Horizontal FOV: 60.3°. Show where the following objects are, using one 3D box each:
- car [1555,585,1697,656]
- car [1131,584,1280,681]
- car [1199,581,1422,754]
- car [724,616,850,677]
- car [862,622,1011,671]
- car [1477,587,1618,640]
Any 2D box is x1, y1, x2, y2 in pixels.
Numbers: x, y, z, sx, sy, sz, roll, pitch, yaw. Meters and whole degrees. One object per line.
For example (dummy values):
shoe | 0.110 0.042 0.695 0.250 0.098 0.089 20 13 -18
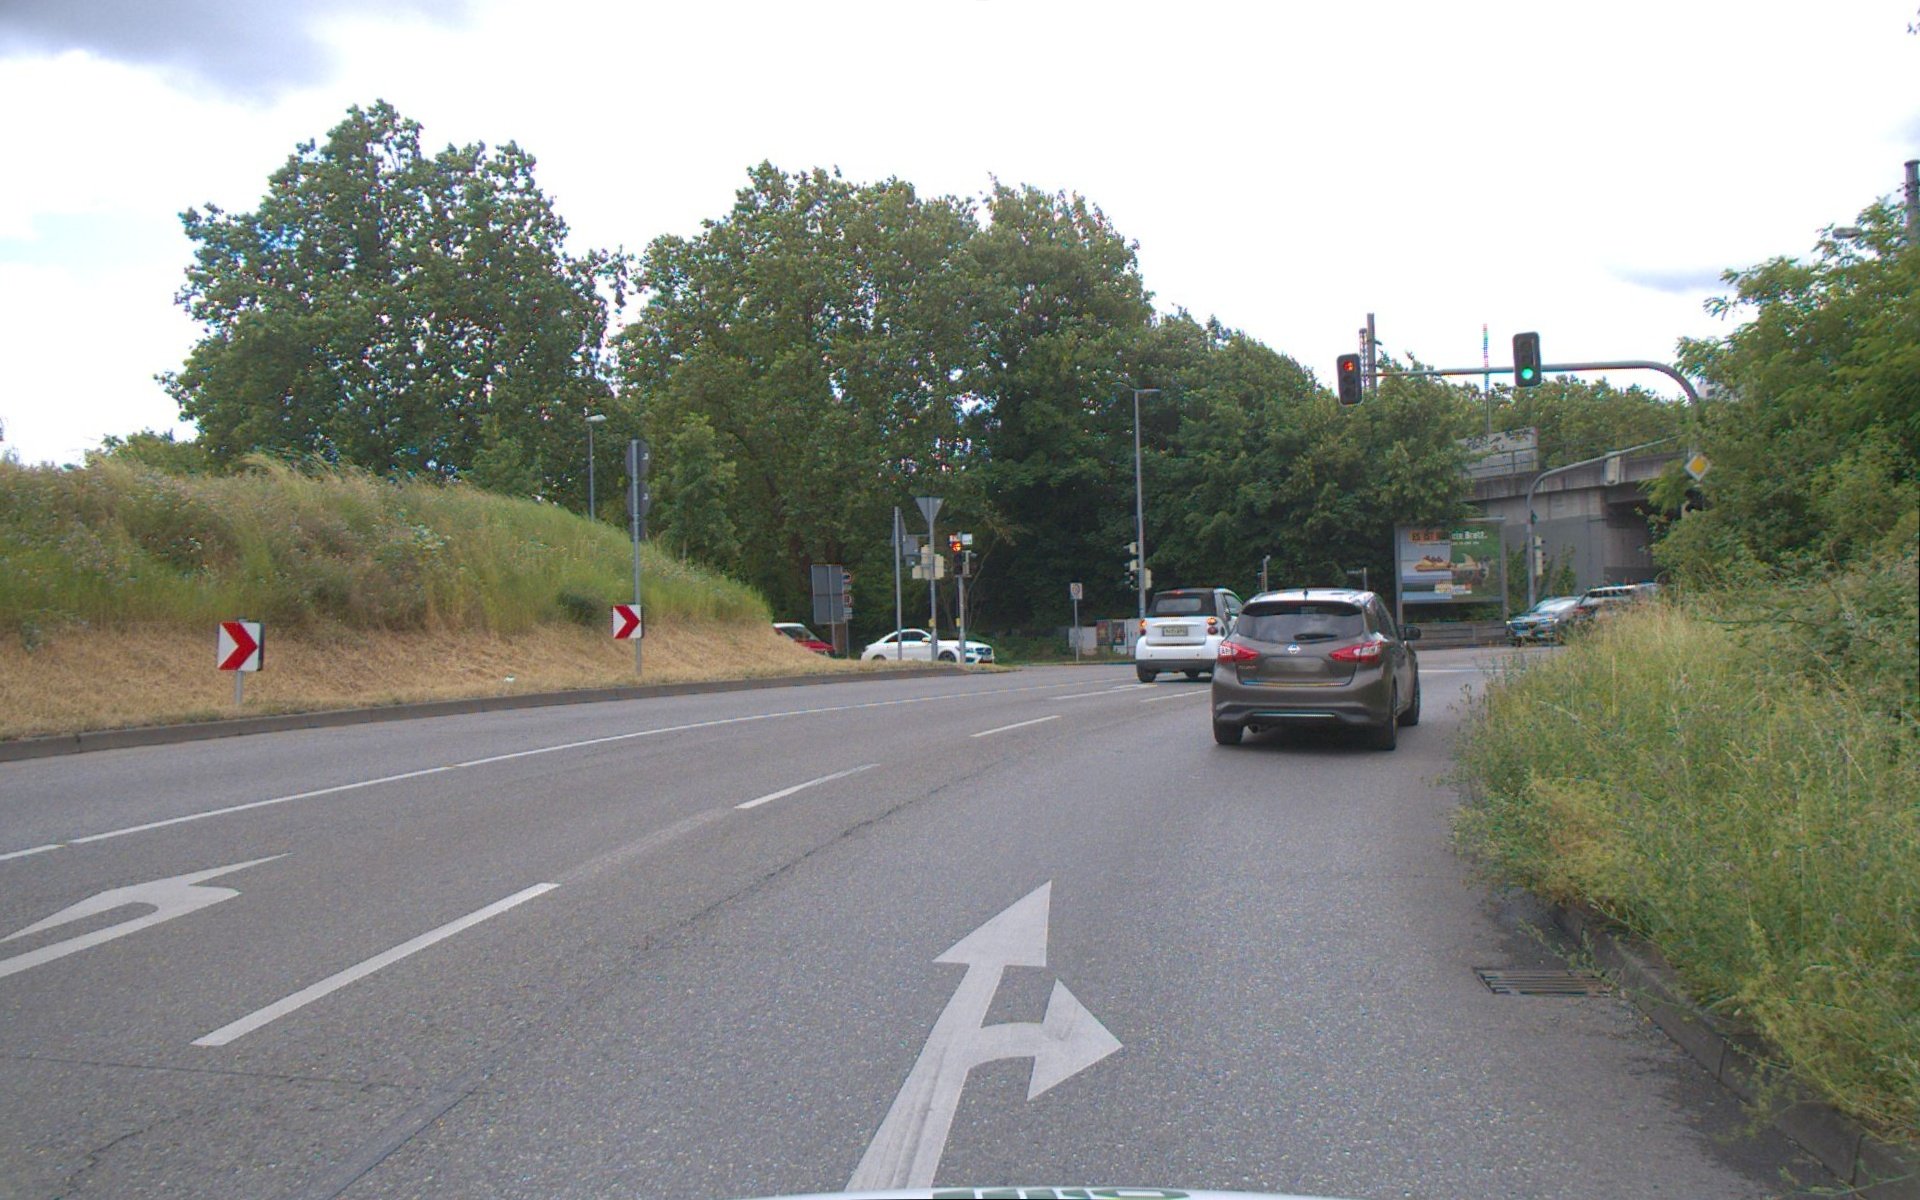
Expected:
car | 15.162 0.449 37.572 1.870 1.492 3.980 2 1 39
car | 4.295 0.517 28.626 1.546 1.585 3.010 0 0 31
car | 3.763 0.588 17.235 1.806 1.519 4.002 0 2 19
car | -5.843 1.570 55.656 3.957 1.845 1.849 -4 -3 35
car | -0.761 1.476 51.803 4.329 1.362 1.993 -3 -4 35
car | 17.499 0.403 49.212 4.371 1.445 1.748 -1 -1 -36
